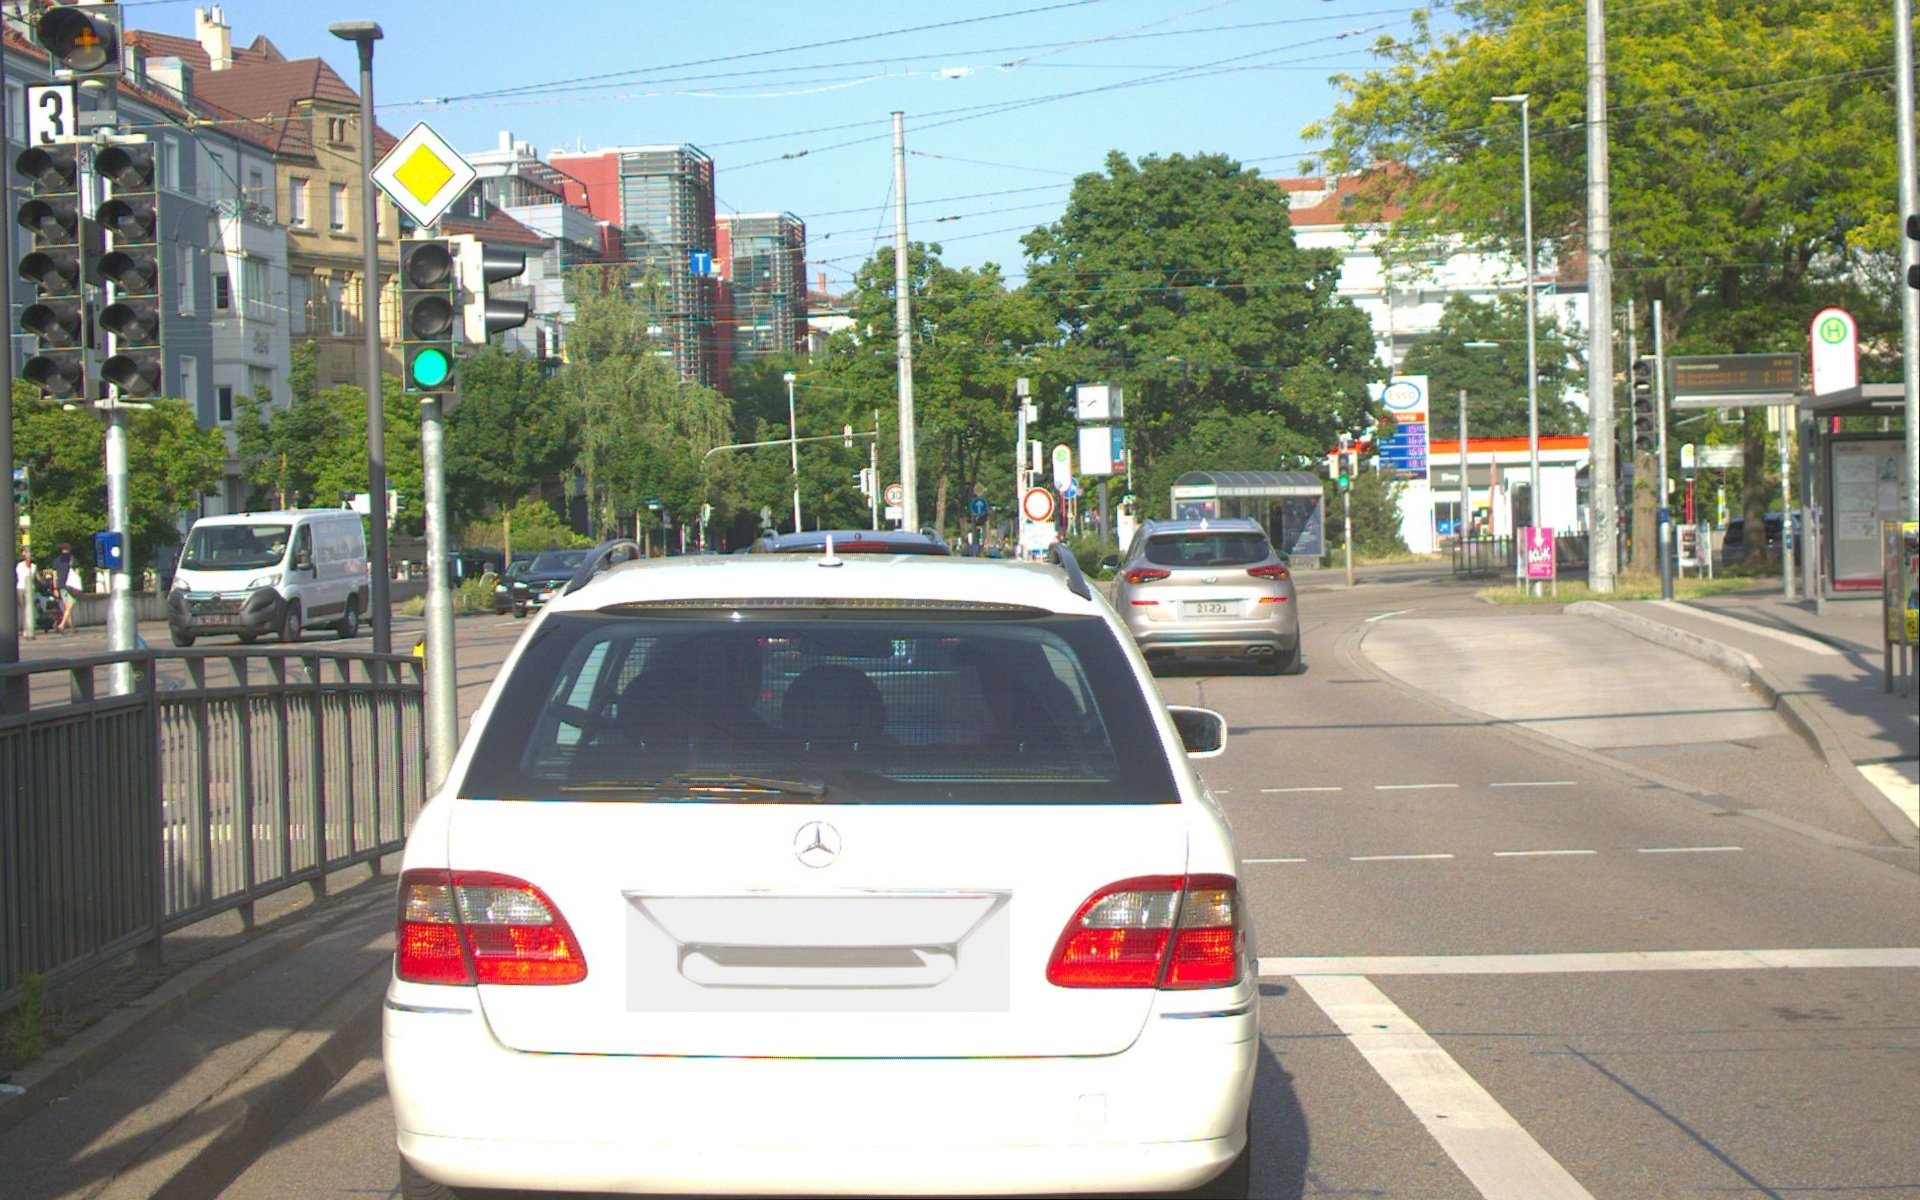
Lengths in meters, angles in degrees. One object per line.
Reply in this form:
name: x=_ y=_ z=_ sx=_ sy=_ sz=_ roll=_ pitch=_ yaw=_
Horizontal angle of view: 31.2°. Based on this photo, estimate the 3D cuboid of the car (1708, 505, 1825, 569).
car: x=21.018 y=-1.643 z=89.481 sx=1.856 sy=1.510 sz=3.994 roll=-2 pitch=1 yaw=30

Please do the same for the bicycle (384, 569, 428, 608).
bicycle: x=-14.375 y=-0.301 z=89.316 sx=0.769 sy=0.962 sz=2.034 roll=-2 pitch=1 yaw=1

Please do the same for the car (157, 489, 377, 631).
car: x=-11.631 y=-0.713 z=58.125 sx=2.177 sy=2.231 sz=5.252 roll=-1 pitch=1 yaw=5

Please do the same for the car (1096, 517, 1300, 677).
car: x=2.456 y=-0.064 z=36.266 sx=1.835 sy=1.595 sz=3.815 roll=0 pitch=1 yaw=-1

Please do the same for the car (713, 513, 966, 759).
car: x=-0.806 y=0.205 z=24.223 sx=1.641 sy=1.595 sz=3.815 roll=0 pitch=1 yaw=-1

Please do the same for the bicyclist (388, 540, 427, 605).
bicyclist: x=-14.386 y=-0.716 z=89.492 sx=0.760 sy=1.662 sz=1.167 roll=-2 pitch=1 yaw=1

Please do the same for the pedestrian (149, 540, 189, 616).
pedestrian: x=-18.563 y=-0.523 z=80.689 sx=0.638 sy=1.745 sz=0.911 roll=-2 pitch=1 yaw=3

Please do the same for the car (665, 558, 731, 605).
car: x=-8.923 y=-0.643 z=117.176 sx=1.689 sy=1.436 sz=4.000 roll=-2 pitch=1 yaw=3

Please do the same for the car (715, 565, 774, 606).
car: x=-7.905 y=-0.548 z=126.319 sx=1.689 sy=1.415 sz=4.000 roll=-2 pitch=0 yaw=3

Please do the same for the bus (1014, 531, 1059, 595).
bus: x=3.140 y=-1.515 z=141.230 sx=1.798 sy=2.546 sz=4.000 roll=1 pitch=0 yaw=1

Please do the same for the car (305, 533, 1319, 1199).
car: x=-0.290 y=0.595 z=8.137 sx=1.835 sy=1.496 sz=3.815 roll=0 pitch=1 yaw=-1

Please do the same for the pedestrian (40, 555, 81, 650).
pedestrian: x=-18.047 y=0.050 z=68.964 sx=0.584 sy=1.874 sz=0.626 roll=-2 pitch=1 yaw=3

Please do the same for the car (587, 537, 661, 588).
car: x=-10.034 y=-1.135 z=102.874 sx=1.634 sy=1.428 sz=3.628 roll=-2 pitch=1 yaw=3

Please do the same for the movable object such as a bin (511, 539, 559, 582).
movable object such as a bin: x=-14.649 y=-1.353 z=118.436 sx=1.602 sy=1.416 sz=1.085 roll=-2 pitch=1 yaw=-7

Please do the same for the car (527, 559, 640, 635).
car: x=-8.618 y=-0.099 z=78.959 sx=1.767 sy=1.489 sz=4.744 roll=-2 pitch=2 yaw=3
